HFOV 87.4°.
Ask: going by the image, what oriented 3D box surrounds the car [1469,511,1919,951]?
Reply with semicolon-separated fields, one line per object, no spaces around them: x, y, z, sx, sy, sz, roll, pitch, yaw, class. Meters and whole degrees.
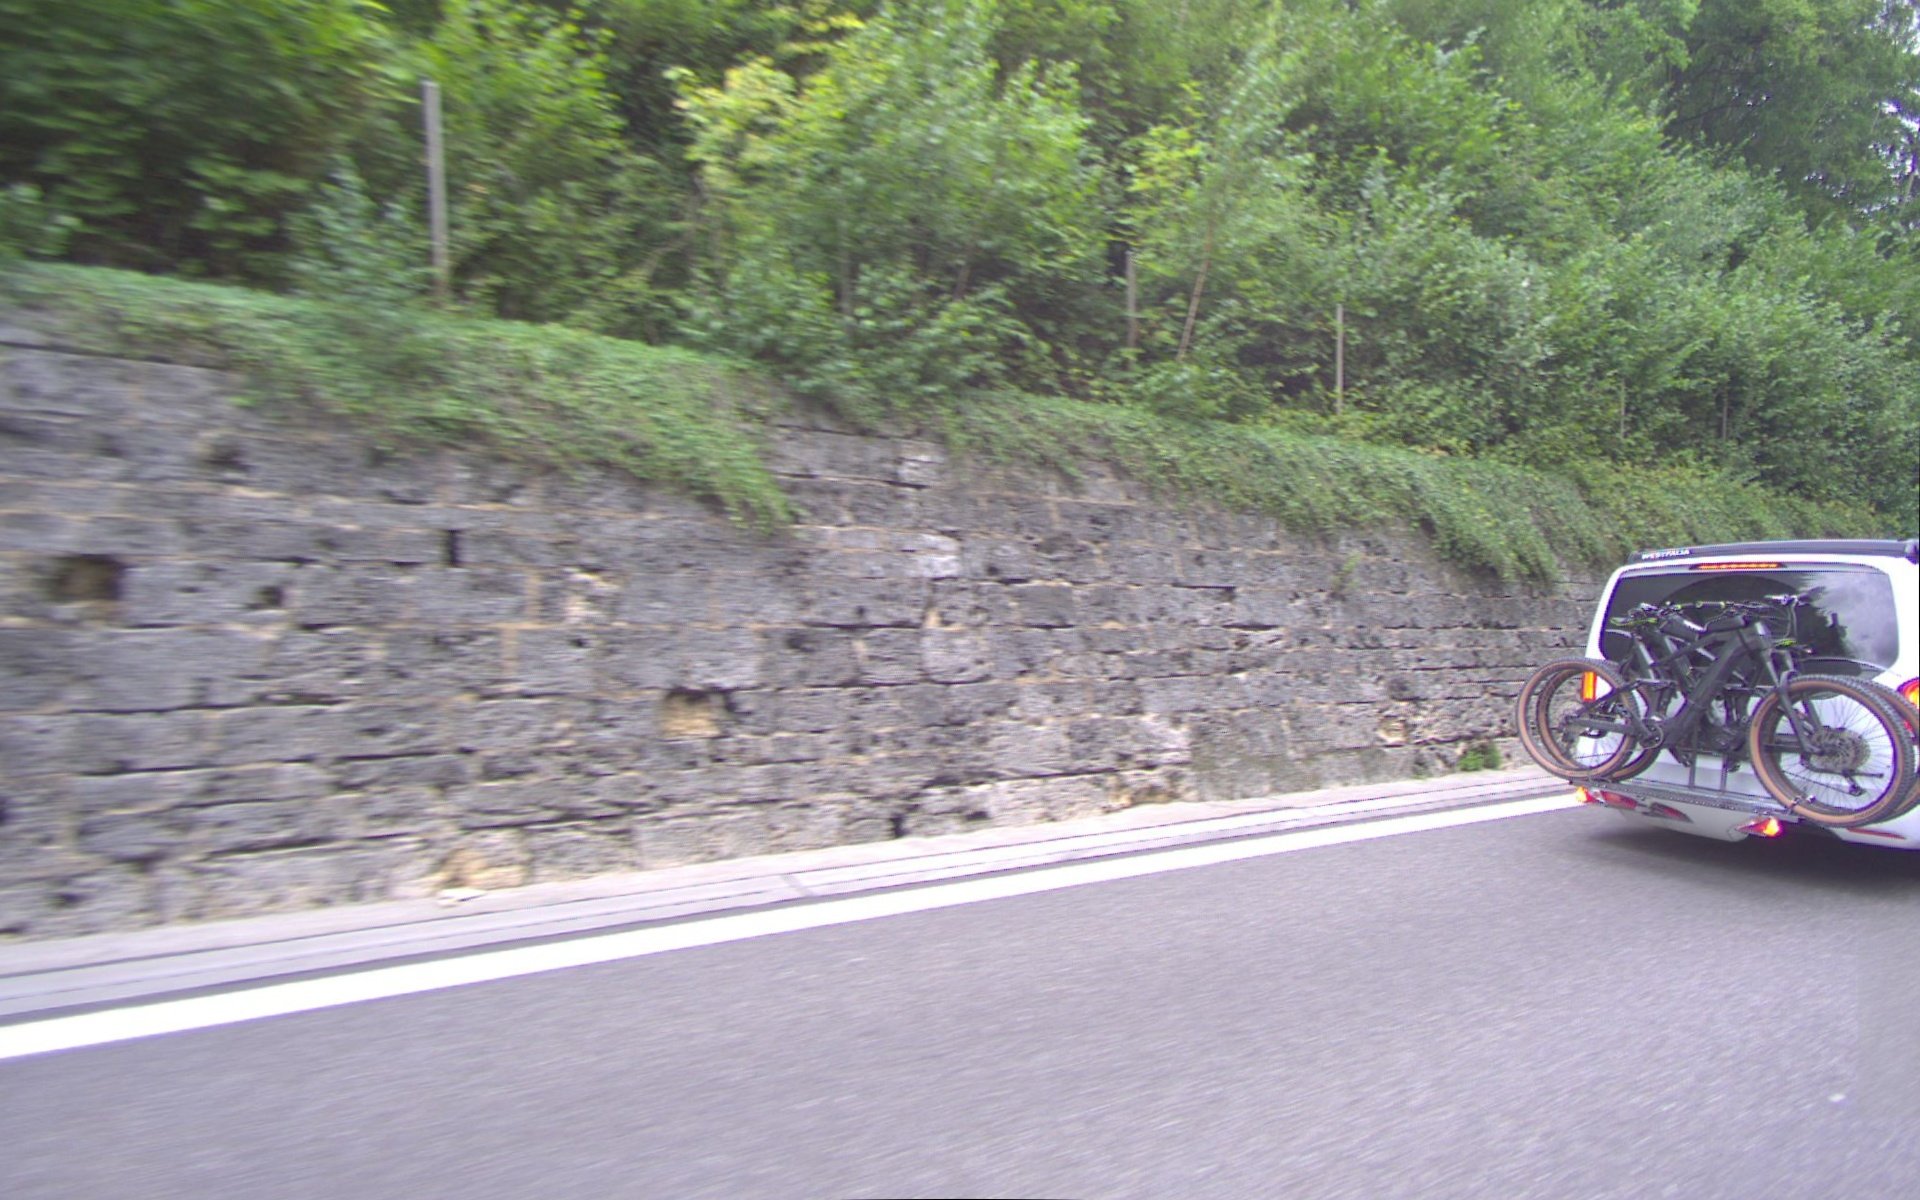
6.289;0.621;6.924;6.075;1.979;1.984;1;0;-31;car
